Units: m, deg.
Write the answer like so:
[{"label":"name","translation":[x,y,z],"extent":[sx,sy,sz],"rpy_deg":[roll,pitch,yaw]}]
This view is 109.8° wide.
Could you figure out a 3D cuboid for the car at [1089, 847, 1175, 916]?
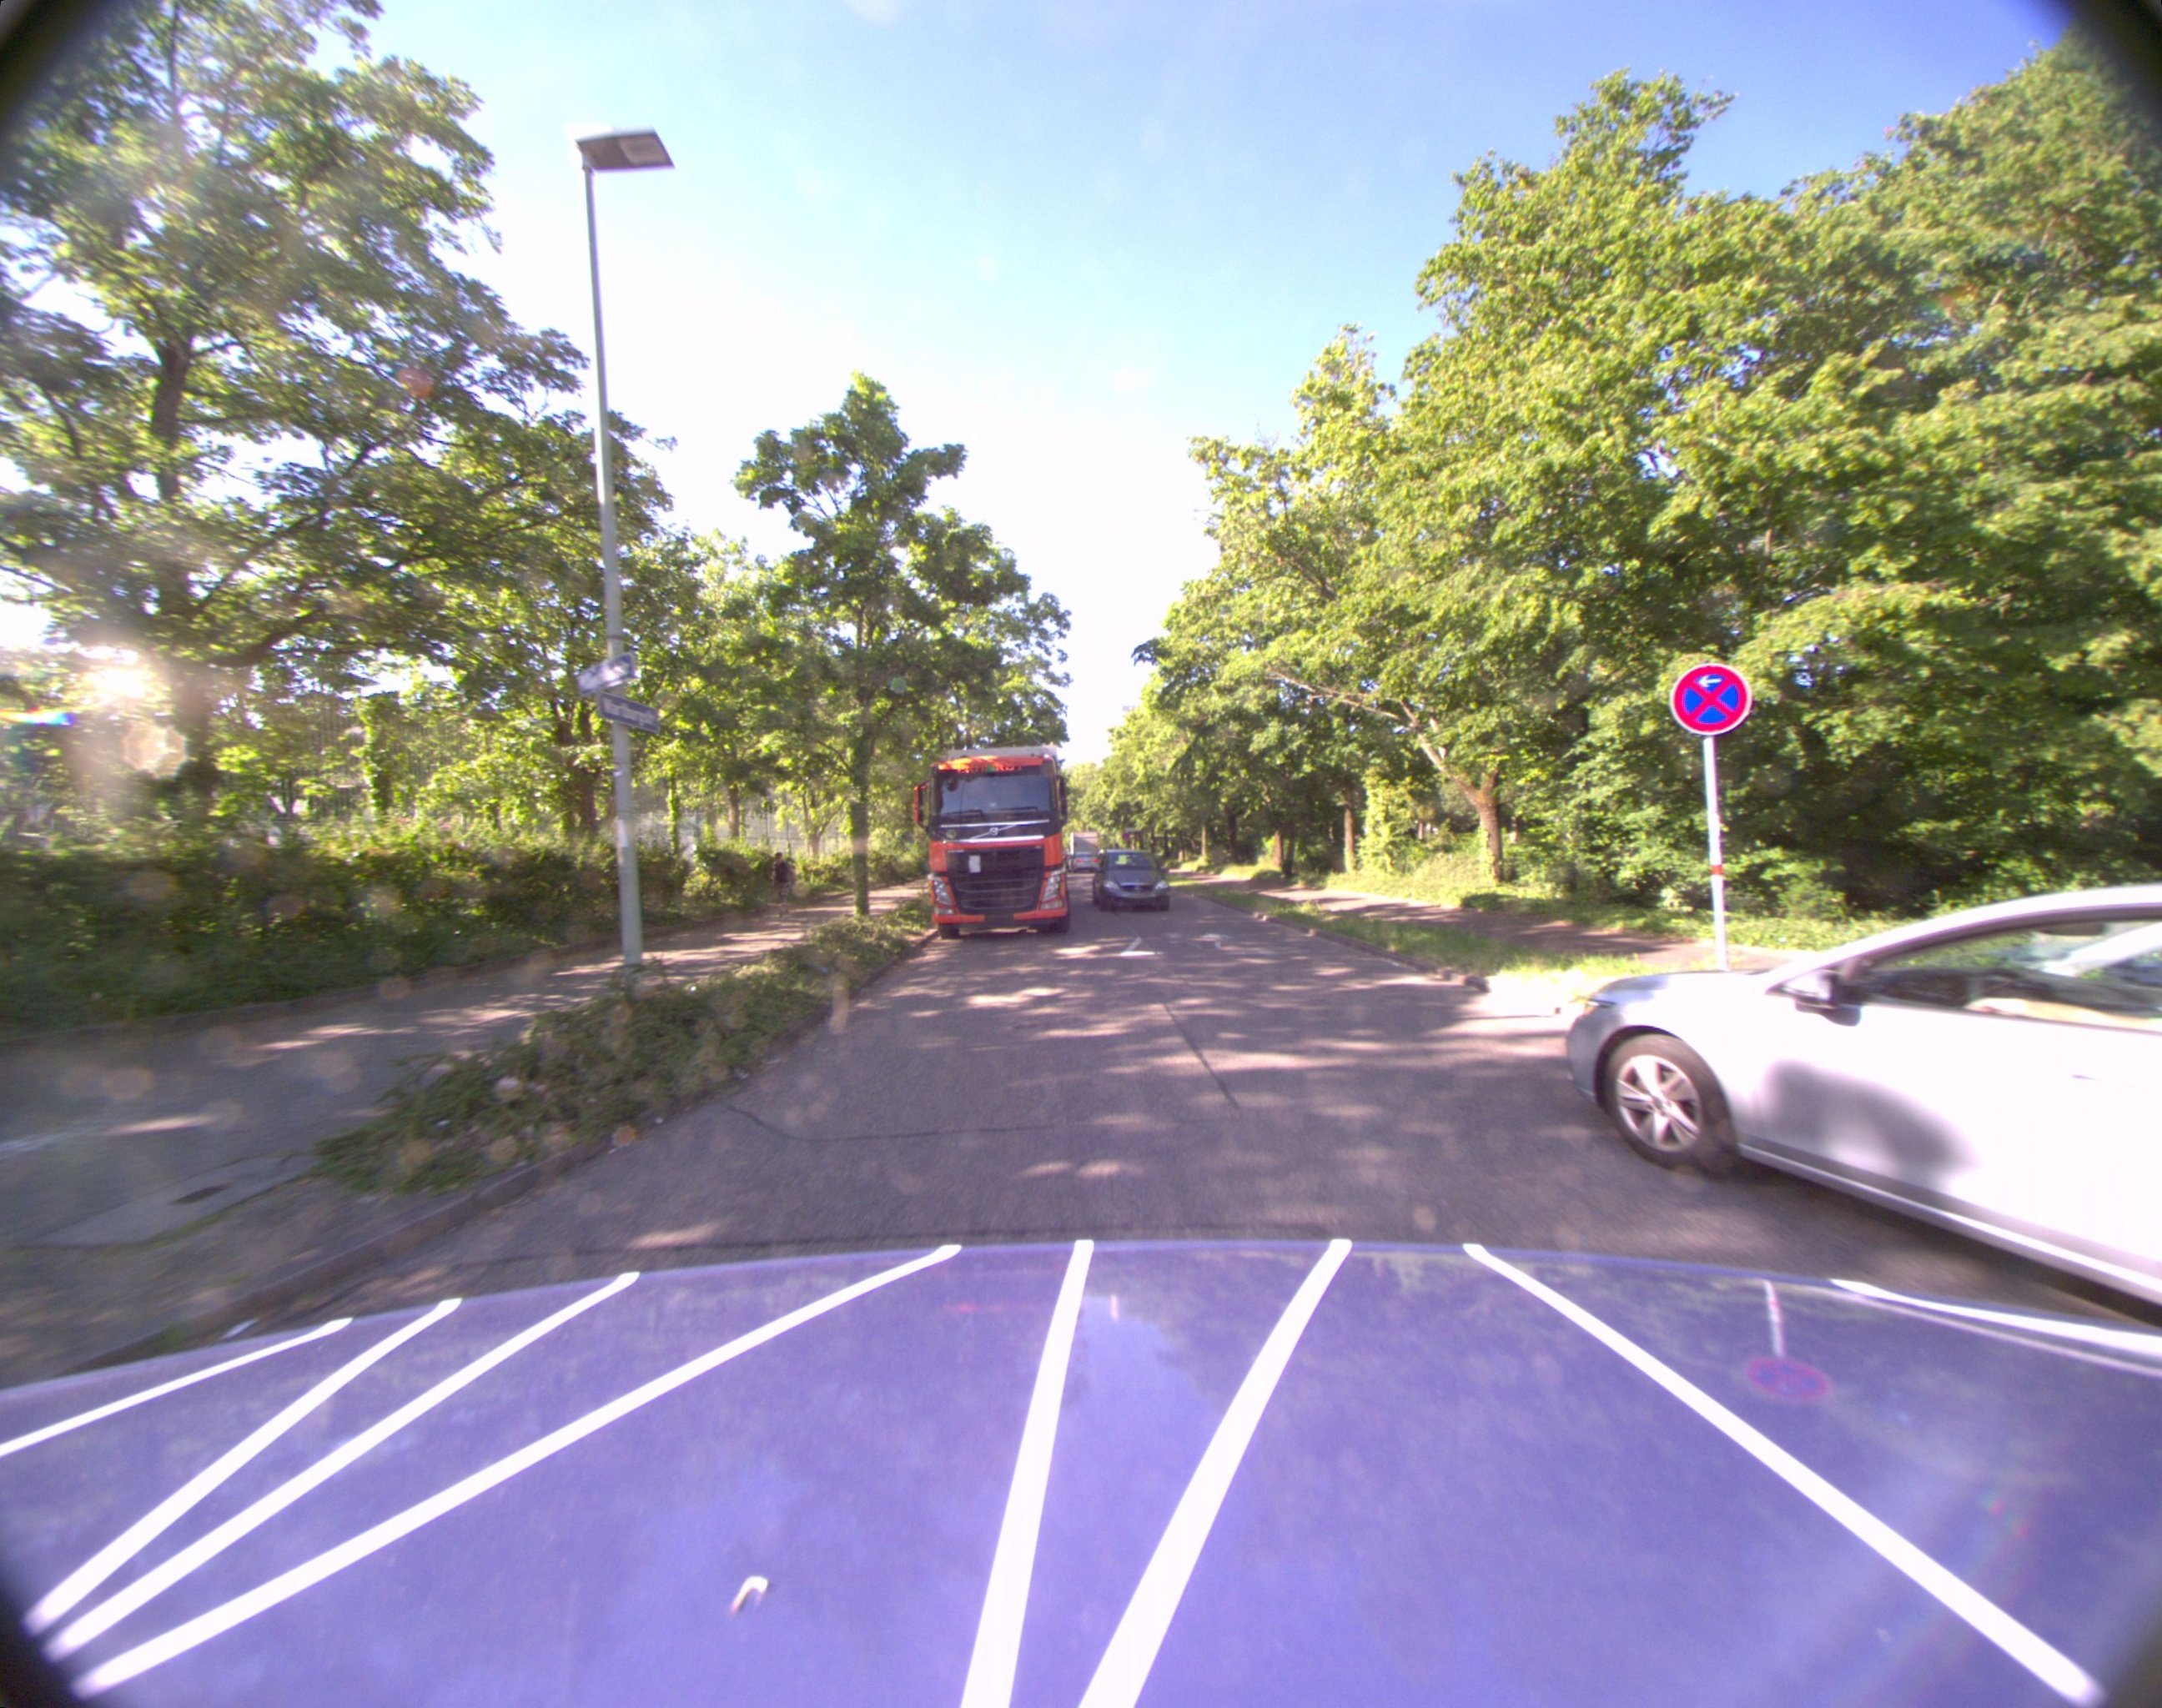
[{"label":"car","translation":[1.288,0.682,20.656],"extent":[1.855,1.635,3.754],"rpy_deg":[-1,0,-3]}]

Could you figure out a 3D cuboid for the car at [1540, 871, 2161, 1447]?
[{"label":"car","translation":[3.747,0.882,2.247],"extent":[1.667,1.458,4.183],"rpy_deg":[0,1,-12]}]

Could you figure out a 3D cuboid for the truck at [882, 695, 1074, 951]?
[{"label":"truck","translation":[-1.894,-0.565,18.322],"extent":[3.167,4.319,10.581],"rpy_deg":[-1,0,-1]}]

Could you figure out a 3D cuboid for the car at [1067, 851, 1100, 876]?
[{"label":"car","translation":[0.111,0.590,51.642],"extent":[1.999,1.576,3.998],"rpy_deg":[-1,0,-3]}]

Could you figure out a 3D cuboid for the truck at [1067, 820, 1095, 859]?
[{"label":"truck","translation":[-0.091,-1.586,82.757],"extent":[2.804,3.996,9.622],"rpy_deg":[0,1,-2]}]

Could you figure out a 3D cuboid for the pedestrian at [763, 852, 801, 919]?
[{"label":"pedestrian","translation":[-7.427,0.760,18.888],"extent":[0.641,1.629,0.641],"rpy_deg":[-1,1,1]}]
